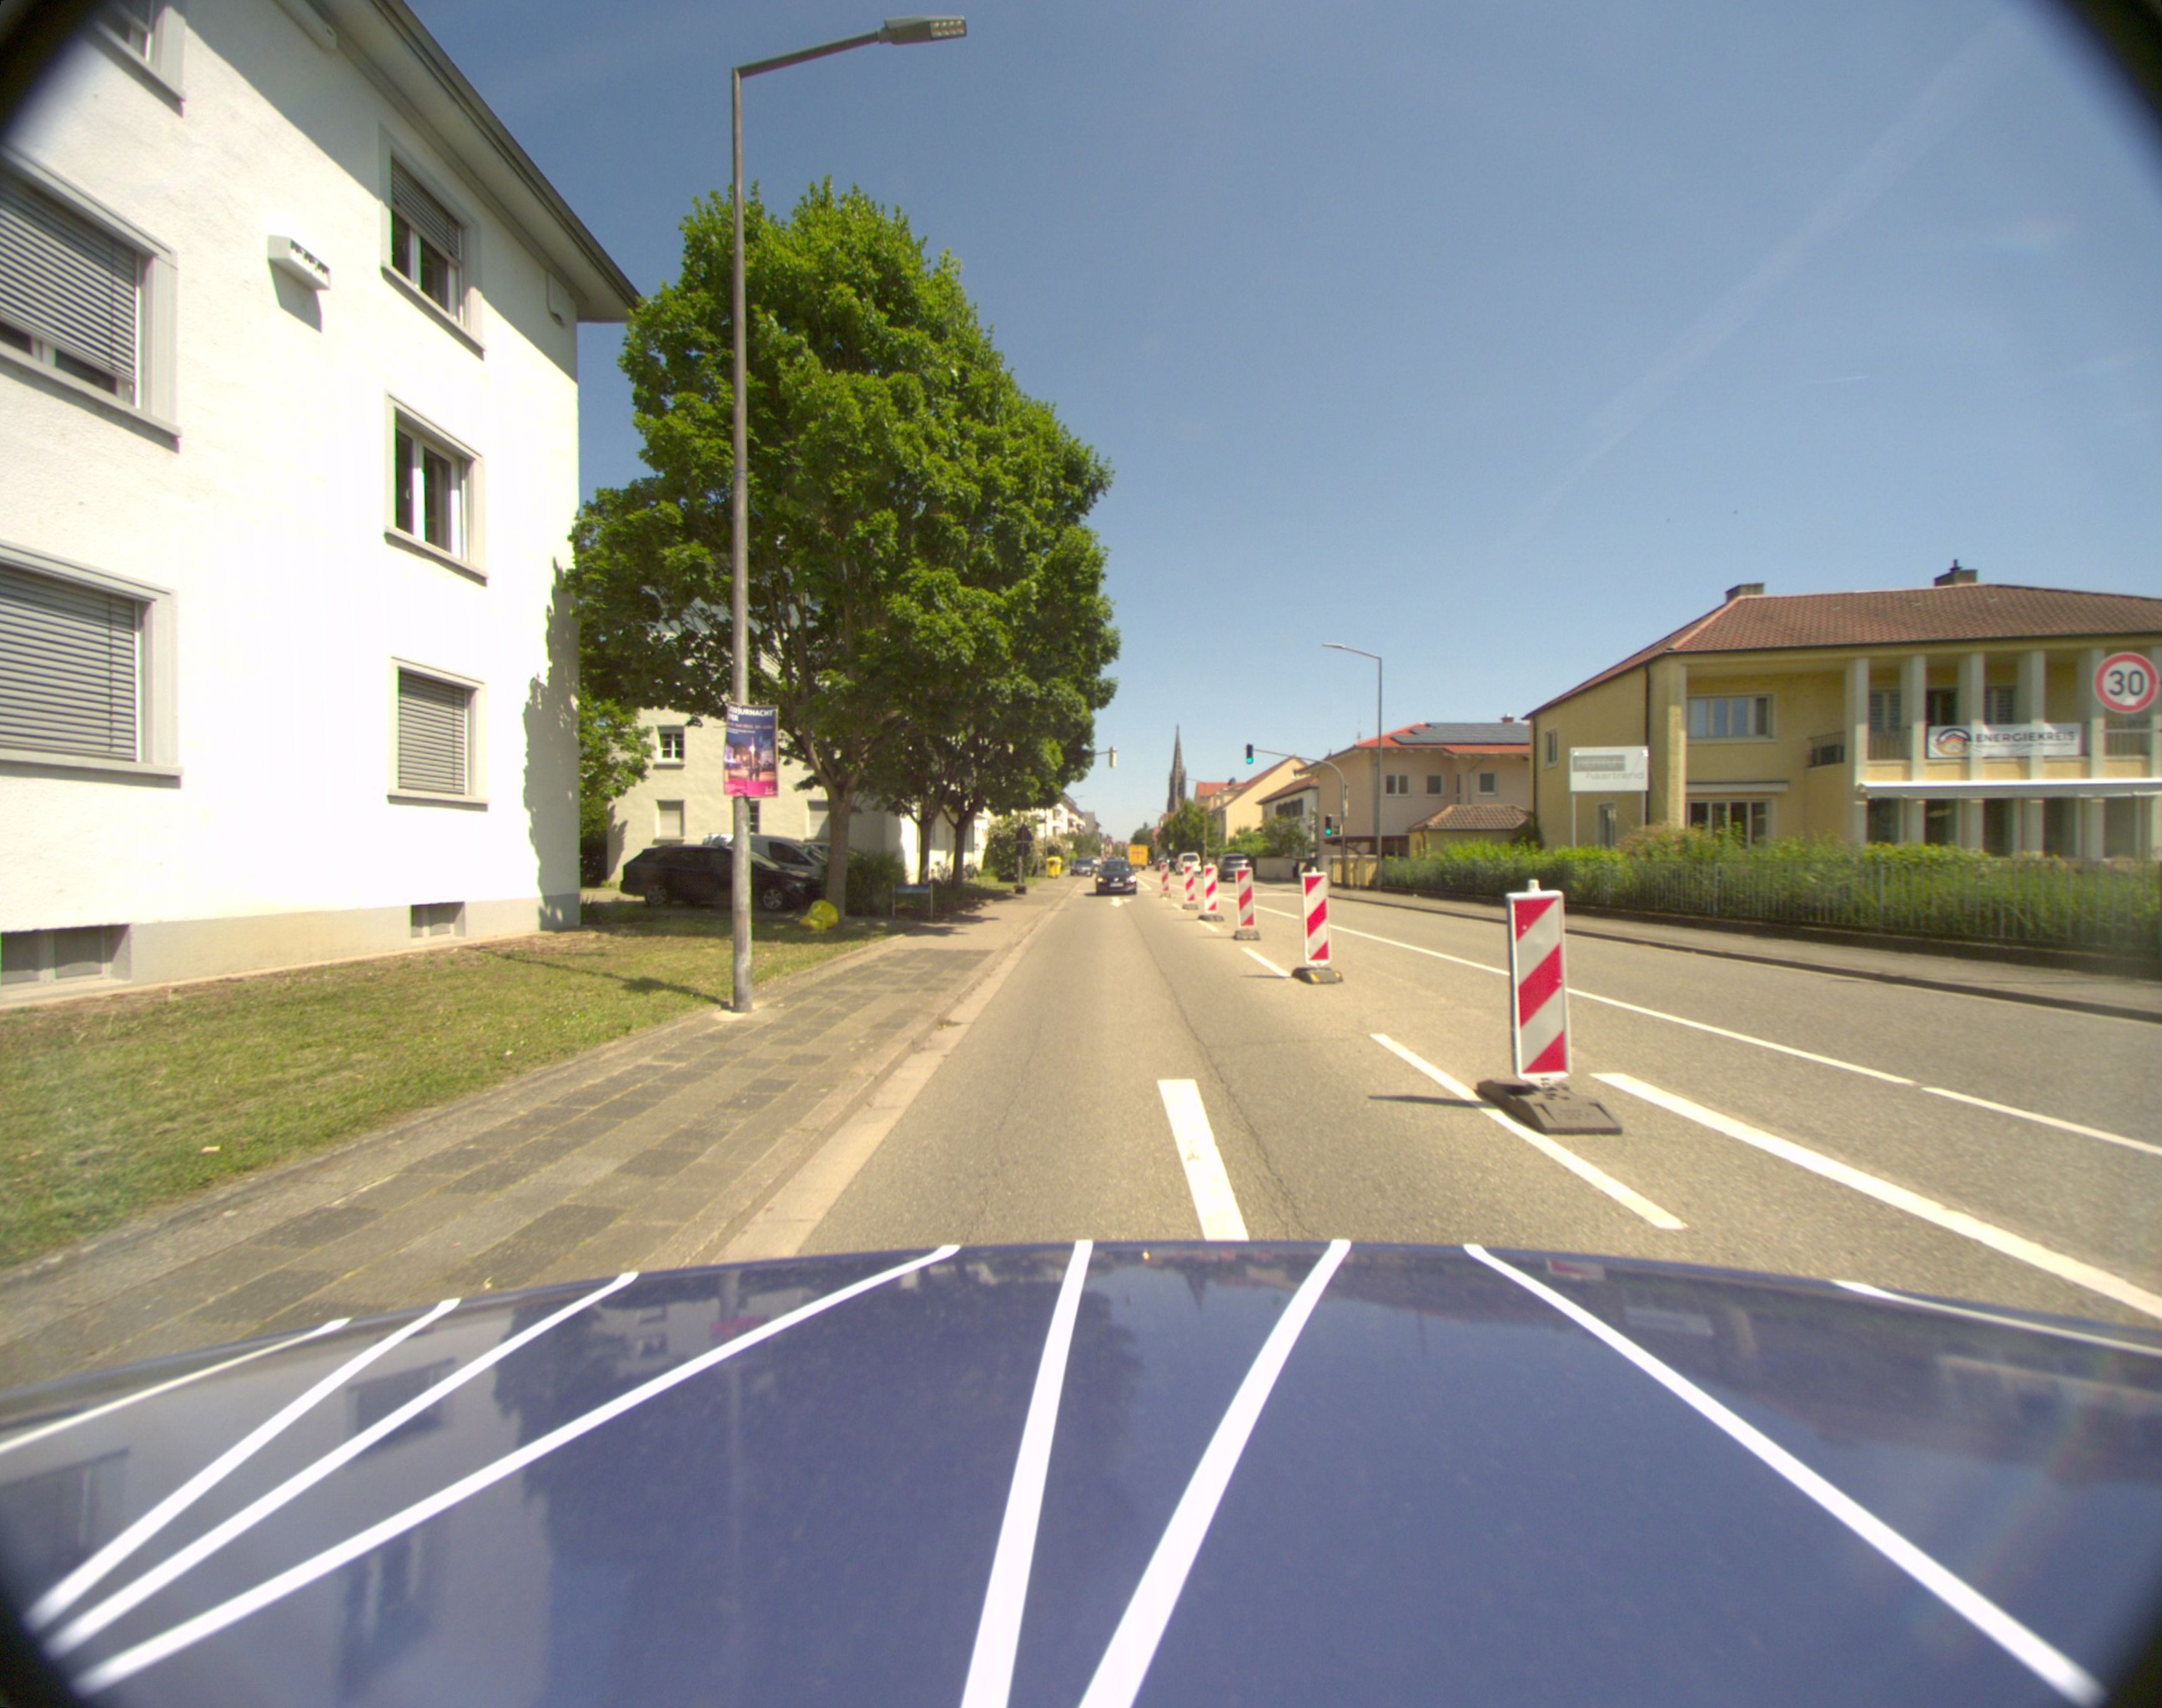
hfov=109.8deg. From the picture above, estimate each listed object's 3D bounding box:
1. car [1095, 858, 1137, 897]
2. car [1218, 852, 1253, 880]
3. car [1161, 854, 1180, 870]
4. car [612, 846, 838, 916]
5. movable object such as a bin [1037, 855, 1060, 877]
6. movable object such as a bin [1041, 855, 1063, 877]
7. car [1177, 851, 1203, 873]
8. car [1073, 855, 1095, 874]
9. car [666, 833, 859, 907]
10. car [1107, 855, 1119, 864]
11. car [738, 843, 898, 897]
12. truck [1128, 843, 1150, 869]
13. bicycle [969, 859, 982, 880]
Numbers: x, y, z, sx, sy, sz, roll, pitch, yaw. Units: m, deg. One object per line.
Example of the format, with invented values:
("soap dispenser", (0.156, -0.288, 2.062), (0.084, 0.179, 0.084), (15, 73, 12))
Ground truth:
("car", (1.497, 0.931, 31.694), (1.607, 1.436, 3.910), (-1, 0, 4))
("car", (9.080, 0.672, 44.896), (1.389, 1.568, 3.321), (0, 0, 1))
("car", (9.699, 0.850, 82.381), (1.624, 1.595, 3.514), (0, 0, 1))
("car", (-8.289, 0.603, 18.014), (4.366, 1.427, 2.000), (2, 0, -1))
("movable object such as a bin", (-2.169, 0.792, 51.112), (1.499, 1.472, 1.423), (0, 0, 1))
("movable object such as a bin", (-1.993, 0.806, 52.601), (1.499, 1.472, 1.423), (0, 0, 1))
("car", (9.262, 0.646, 64.812), (1.718, 1.776, 3.890), (0, 0, 1))
("car", (0.251, 0.841, 60.663), (1.607, 1.403, 3.909), (-1, 0, 2))
("car", (-8.568, 0.410, 20.730), (4.366, 1.776, 2.000), (2, 0, -1))
("car", (5.389, 0.903, 127.292), (1.711, 1.449, 3.563), (0, 0, -1))
("car", (-8.268, 0.486, 24.195), (4.366, 1.517, 2.000), (2, 0, -1))
("truck", (6.756, 0.239, 89.297), (2.222, 2.920, 5.351), (0, 0, 1))
("bicycle", (-5.611, 0.814, 40.373), (0.407, 1.050, 1.522), (0, 0, 2))
